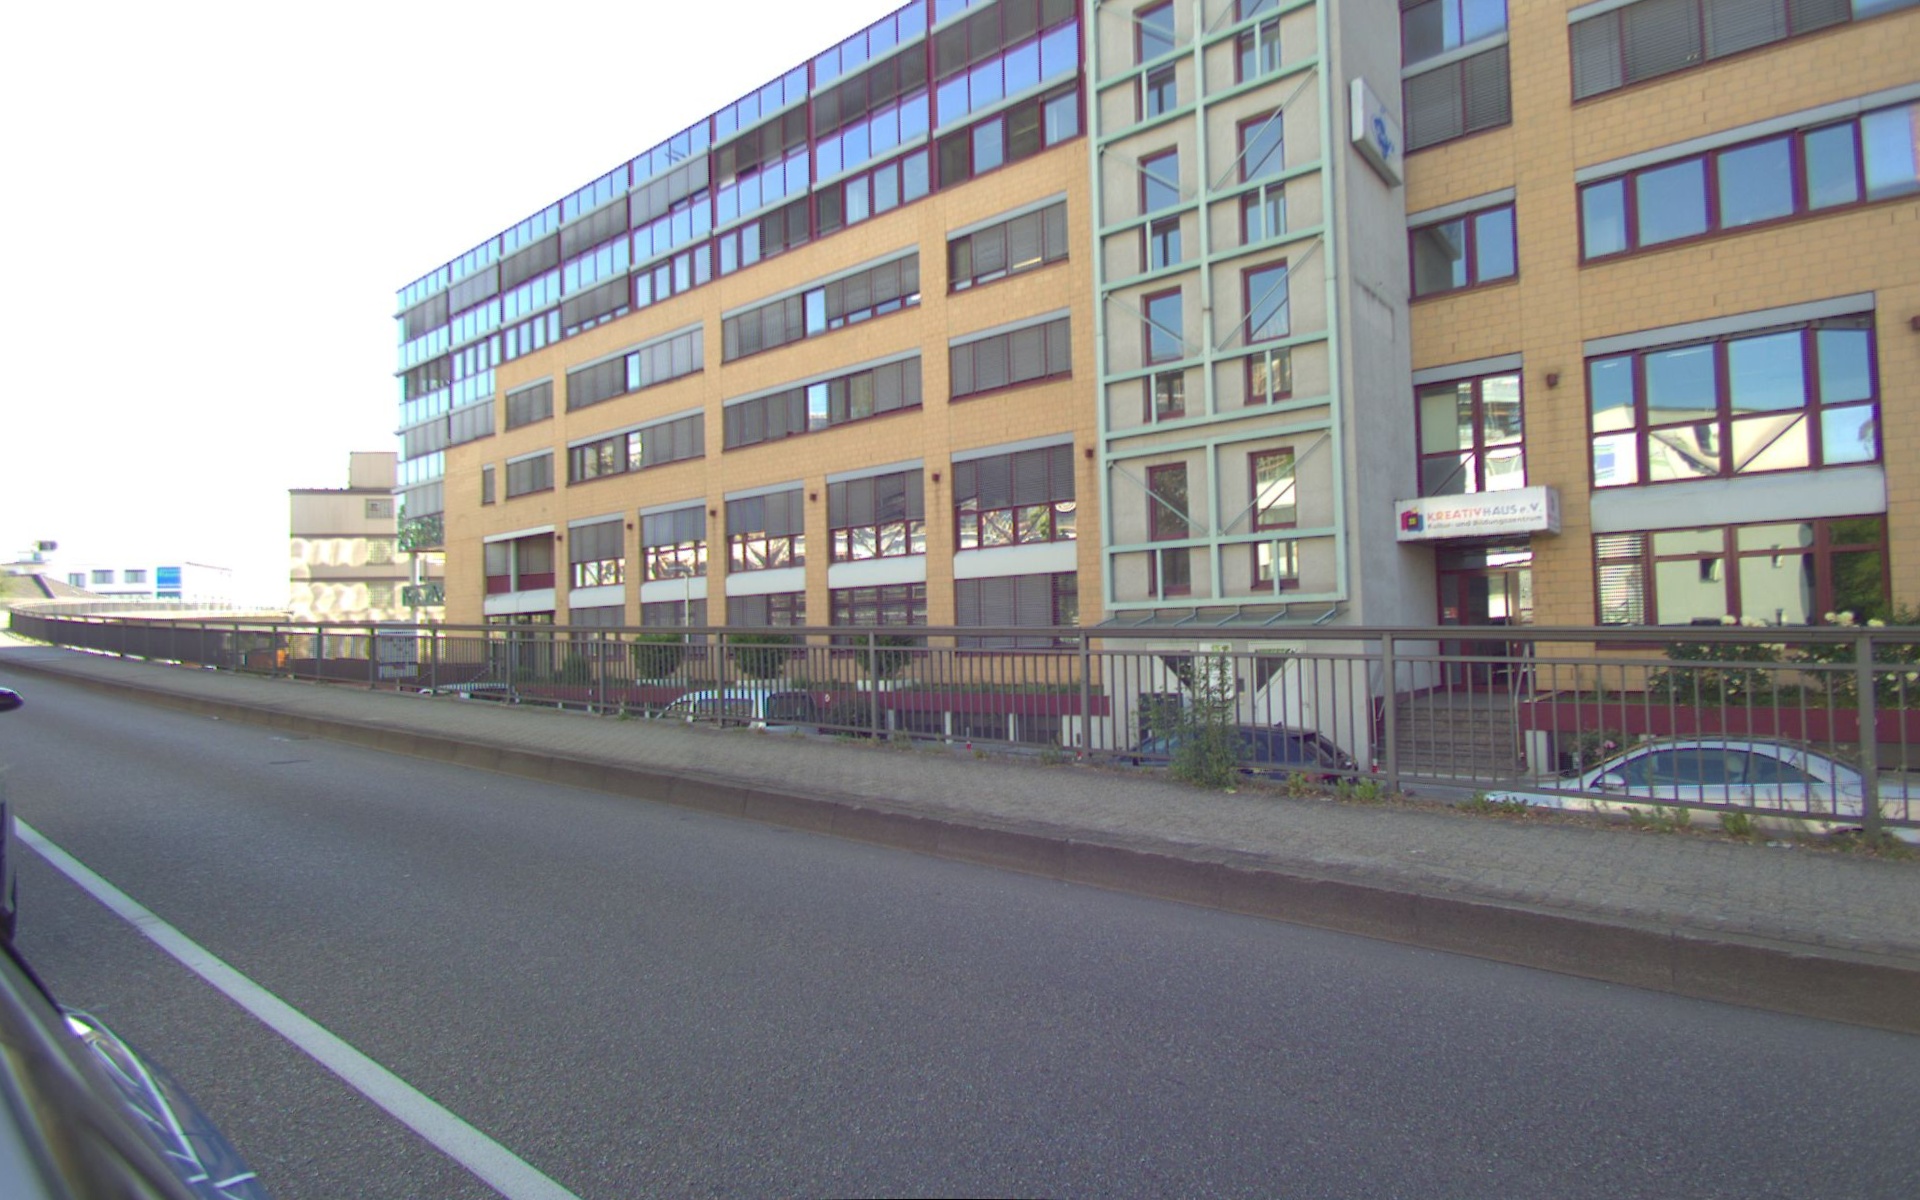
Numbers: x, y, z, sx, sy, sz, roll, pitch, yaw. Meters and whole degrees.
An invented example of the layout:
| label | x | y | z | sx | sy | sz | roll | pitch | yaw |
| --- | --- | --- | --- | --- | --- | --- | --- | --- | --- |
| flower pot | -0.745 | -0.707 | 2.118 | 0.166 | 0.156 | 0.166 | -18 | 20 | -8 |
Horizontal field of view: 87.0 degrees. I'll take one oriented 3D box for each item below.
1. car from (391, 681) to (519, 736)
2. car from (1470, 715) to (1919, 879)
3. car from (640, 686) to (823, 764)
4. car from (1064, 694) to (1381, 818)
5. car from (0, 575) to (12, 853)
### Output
| label | x | y | z | sx | sy | sz | roll | pitch | yaw |
| --- | --- | --- | --- | --- | --- | --- | --- | --- | --- |
| car | -13.822 | 2.915 | 27.634 | 3.805 | 1.279 | 1.744 | -3 | -4 | 40 |
| car | 7.683 | 1.872 | 10.215 | 4.254 | 1.175 | 1.704 | -3 | -4 | 40 |
| car | -4.596 | 2.412 | 20.135 | 3.805 | 1.279 | 1.560 | -3 | -4 | 40 |
| car | 3.418 | 1.981 | 13.566 | 3.805 | 1.279 | 1.560 | -3 | -4 | 40 |
| car | -5.846 | 0.772 | 4.667 | 3.998 | 1.660 | 1.726 | -3 | -4 | 41 |
